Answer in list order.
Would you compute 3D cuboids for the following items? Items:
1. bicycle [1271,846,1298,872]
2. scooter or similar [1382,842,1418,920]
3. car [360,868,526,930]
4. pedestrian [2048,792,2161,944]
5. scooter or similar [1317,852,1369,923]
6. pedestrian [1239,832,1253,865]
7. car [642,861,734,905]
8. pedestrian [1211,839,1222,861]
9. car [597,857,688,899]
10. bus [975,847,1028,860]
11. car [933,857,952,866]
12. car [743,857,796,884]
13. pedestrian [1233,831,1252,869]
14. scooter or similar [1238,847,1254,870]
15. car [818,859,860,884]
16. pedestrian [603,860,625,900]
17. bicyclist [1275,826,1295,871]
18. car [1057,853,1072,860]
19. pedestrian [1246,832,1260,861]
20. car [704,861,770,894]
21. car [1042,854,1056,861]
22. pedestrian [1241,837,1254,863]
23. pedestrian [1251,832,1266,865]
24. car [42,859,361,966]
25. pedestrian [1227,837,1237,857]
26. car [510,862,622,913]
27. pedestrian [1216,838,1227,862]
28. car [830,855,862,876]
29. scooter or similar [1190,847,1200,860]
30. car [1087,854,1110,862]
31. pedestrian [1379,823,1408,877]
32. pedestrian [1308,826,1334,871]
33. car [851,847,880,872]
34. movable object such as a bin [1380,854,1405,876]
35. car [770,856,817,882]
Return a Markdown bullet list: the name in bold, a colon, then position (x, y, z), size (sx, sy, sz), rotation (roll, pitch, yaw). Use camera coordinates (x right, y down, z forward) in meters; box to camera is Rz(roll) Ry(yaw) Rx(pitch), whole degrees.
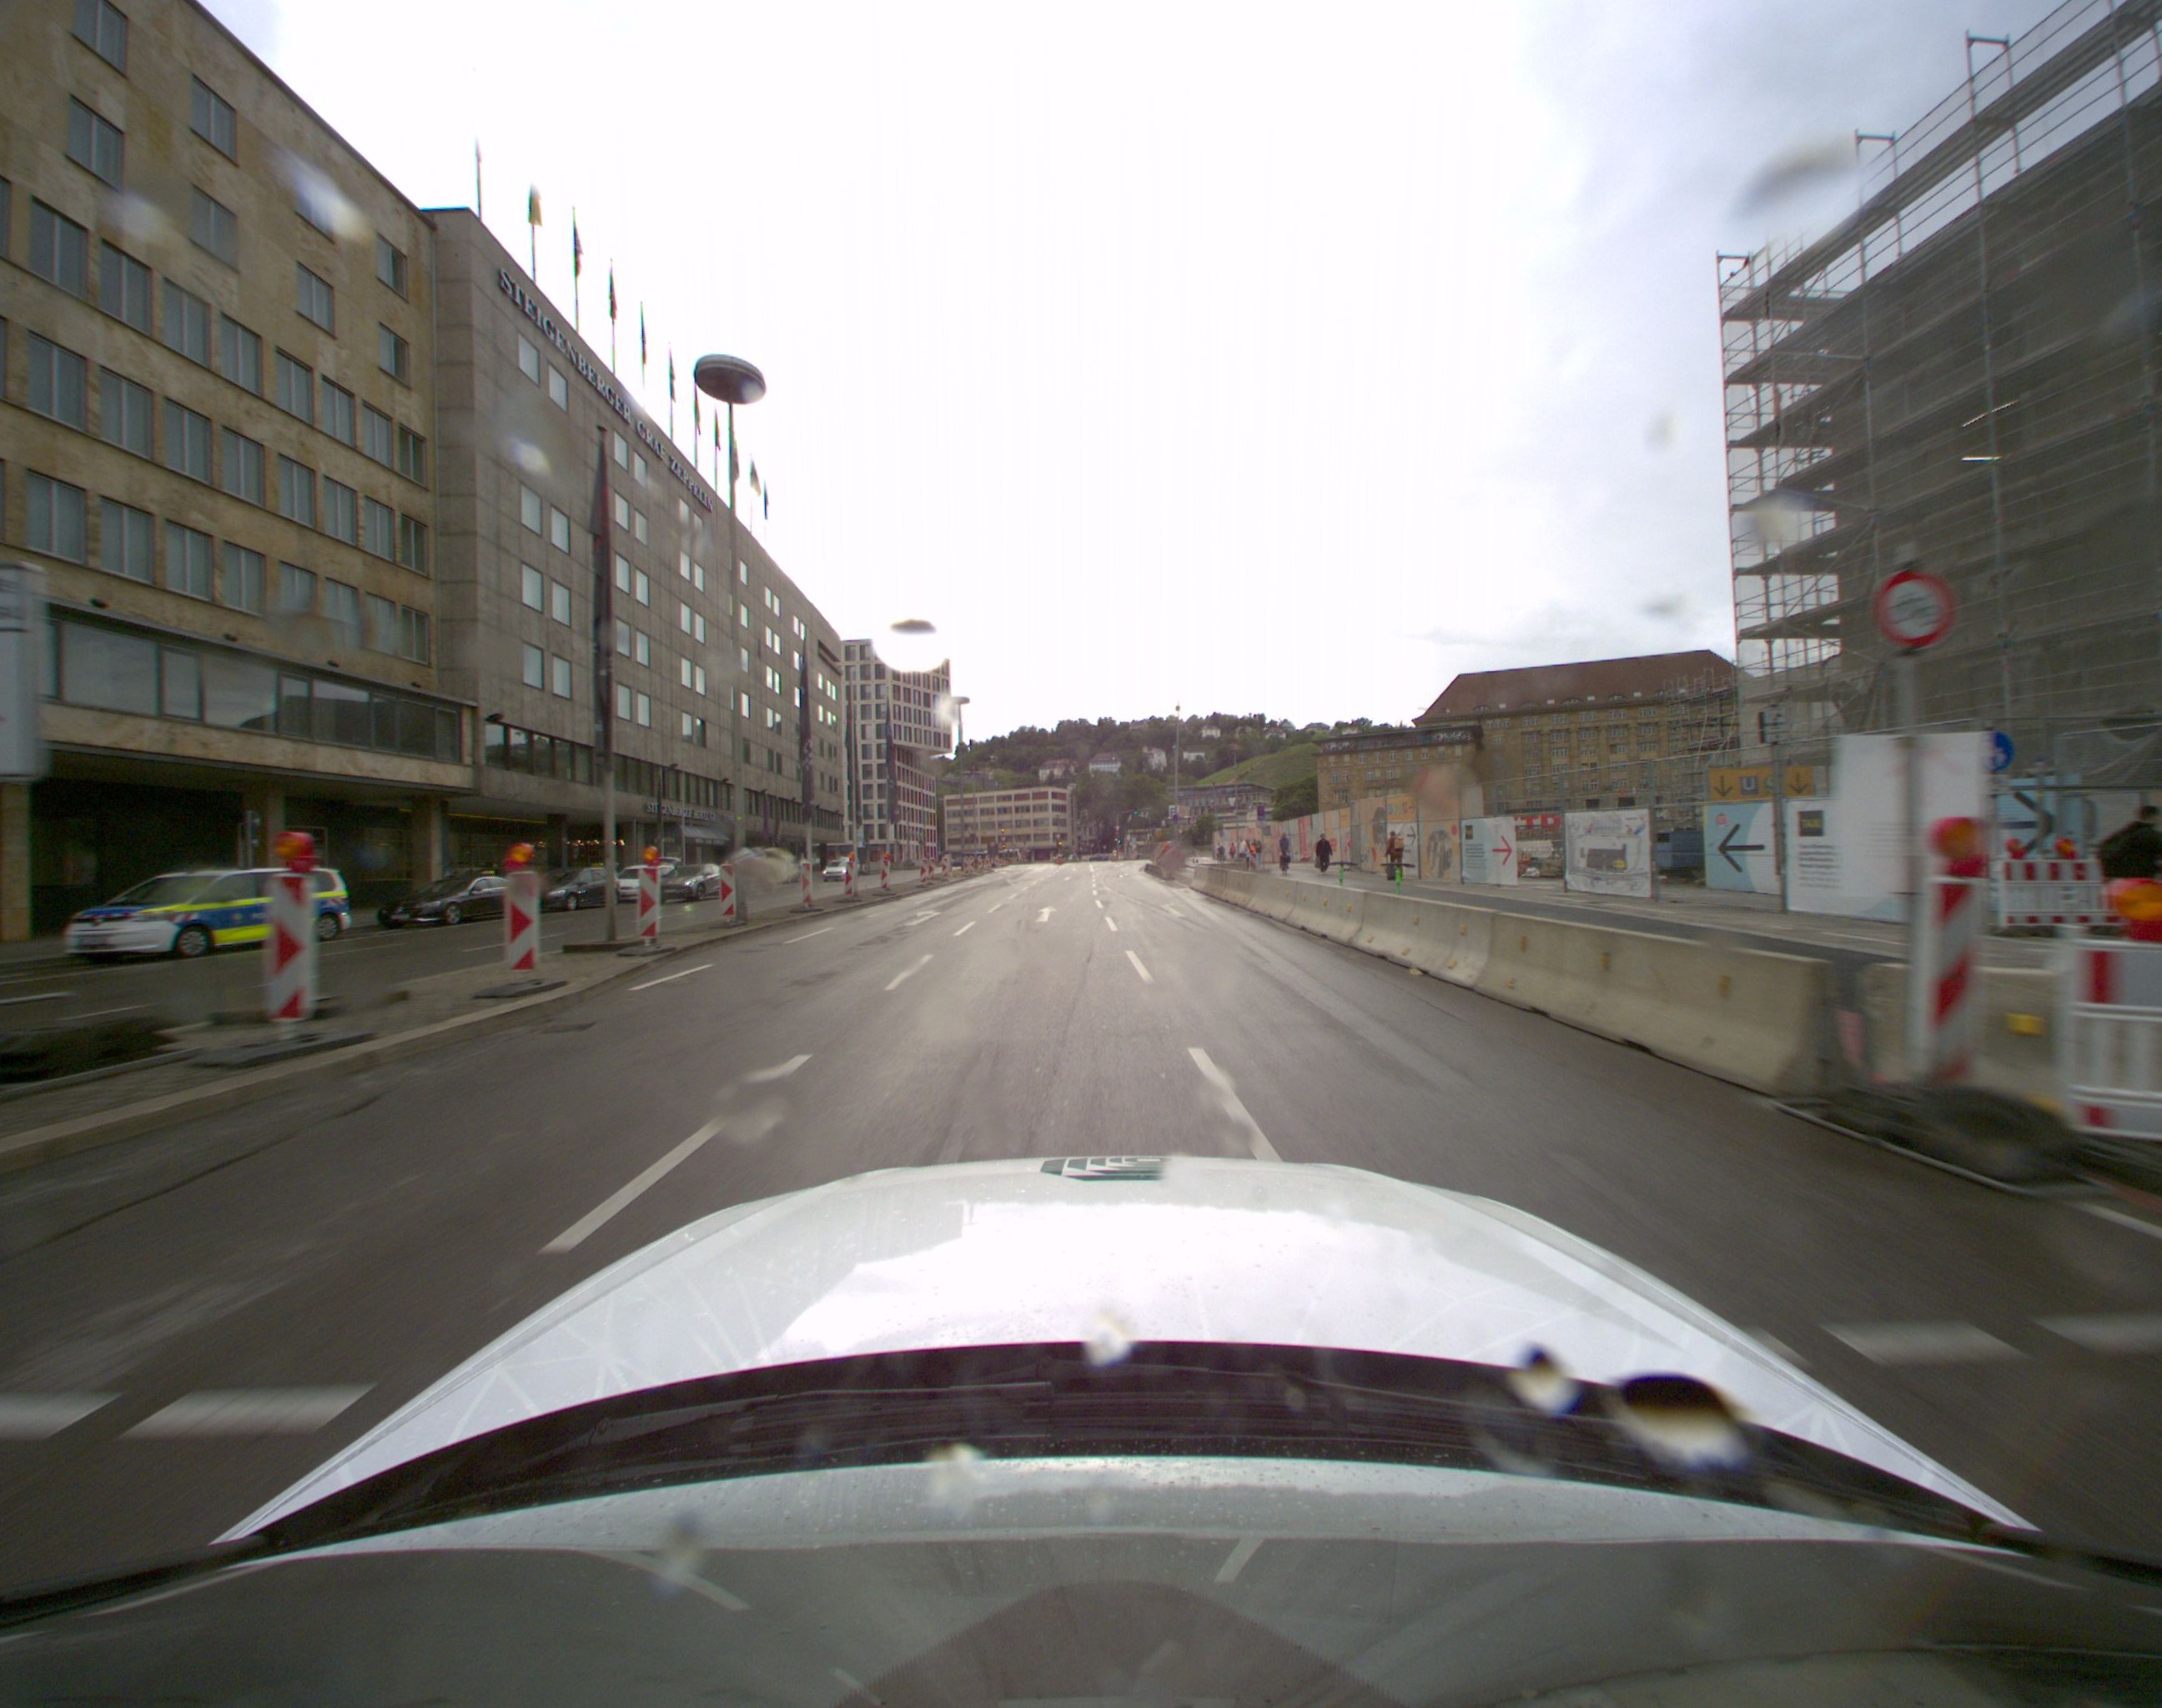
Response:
- **bicycle**: position (9.218, 0.219, 36.916), size (0.762, 1.111, 1.982), rotation (-2, 0, 2)
- **scooter or similar**: position (5.687, 0.456, 14.509), size (0.487, 1.333, 1.031), rotation (-2, 0, 25)
- **car**: position (-19.877, 1.334, 25.682), size (1.750, 1.621, 4.559), rotation (-2, 0, -3)
- **pedestrian**: position (13.133, 0.172, 10.304), size (0.990, 1.848, 0.680), rotation (-3, 0, 40)
- **scooter or similar**: position (5.174, 0.641, 16.133), size (0.524, 1.333, 1.022), rotation (-2, 0, -10)
- **pedestrian**: position (9.682, -0.333, 47.808), size (0.681, 1.889, 0.694), rotation (-2, 0, 3)
- **car**: position (-16.940, 1.201, 35.371), size (1.769, 1.669, 4.498), rotation (-3, 0, -1)
- **pedestrian**: position (11.034, -0.301, 66.150), size (0.681, 1.740, 0.907), rotation (-2, 0, 0)
- **car**: position (-20.129, 1.048, 37.629), size (1.750, 1.758, 4.706), rotation (-2, 0, -3)
- **bus**: position (-19.129, -0.036, 194.856), size (13.794, 2.750, 3.232), rotation (-2, 0, 37)
- **car**: position (-29.949, 1.676, 176.425), size (3.949, 1.815, 1.817), rotation (-2, 0, 41)
- **car**: position (-20.684, 1.066, 54.262), size (1.811, 1.698, 4.574), rotation (-2, 0, -2)
- **pedestrian**: position (8.738, -0.209, 44.143), size (0.799, 2.016, 0.973), rotation (-2, 0, 3)
- **scooter or similar**: position (8.739, 0.215, 43.121), size (0.662, 1.198, 1.045), rotation (-2, 0, 3)
- **car**: position (-17.681, 1.228, 59.676), size (1.820, 1.669, 4.495), rotation (-2, 0, -3)
- **pedestrian**: position (-21.363, 1.189, 37.259), size (0.617, 1.781, 0.660), rotation (-1, -1, 12)
- **bicyclist**: position (9.291, -0.251, 37.084), size (0.724, 2.013, 0.599), rotation (-2, 0, 2)
- **car**: position (-3.751, 0.503, 180.805), size (1.739, 1.492, 4.042), rotation (-2, 0, -27)
- **pedestrian**: position (11.375, -0.515, 53.943), size (0.681, 1.889, 0.693), rotation (-2, 0, -1)
- **car**: position (-20.548, 1.372, 48.852), size (1.896, 1.768, 4.645), rotation (-2, 0, 0)
- **car**: position (-7.448, 0.768, 188.801), size (1.738, 1.492, 4.044), rotation (-2, 0, -25)
- **pedestrian**: position (12.456, -0.296, 60.868), size (0.701, 1.866, 0.990), rotation (-2, 0, 2)
- **pedestrian**: position (10.390, -0.330, 47.743), size (0.681, 1.889, 0.694), rotation (-2, 0, 3)
- **car**: position (-19.774, 1.183, 18.779), size (1.896, 1.928, 5.070), rotation (-3, 1, -3)
- **pedestrian**: position (14.180, -0.636, 76.374), size (0.717, 1.866, 0.709), rotation (-2, 0, -1)
- **car**: position (-19.808, 1.225, 31.540), size (1.750, 1.681, 4.224), rotation (-2, 1, -3)
- **pedestrian**: position (10.444, -0.319, 60.653), size (0.640, 1.740, 0.837), rotation (-2, 0, 0)
- **car**: position (-21.704, 1.030, 75.447), size (1.770, 1.762, 4.367), rotation (-2, 0, -2)
- **scooter or similar**: position (10.245, -0.030, 73.082), size (0.467, 1.183, 1.411), rotation (-2, 0, -8)
- **car**: position (3.403, 0.738, 159.287), size (4.025, 1.492, 1.747), rotation (-2, 0, 37)
- **pedestrian**: position (11.284, -0.152, 29.440), size (0.764, 1.895, 0.654), rotation (-2, 0, 2)
- **pedestrian**: position (10.257, -0.243, 34.795), size (0.845, 1.895, 0.662), rotation (-2, 0, 2)
- **car**: position (-21.430, 0.523, 81.176), size (1.770, 2.327, 4.367), rotation (-2, 0, -2)
- **movable object such as a bin**: position (11.075, 0.386, 28.984), size (0.594, 0.734, 0.778), rotation (-2, 0, 3)
- **car**: position (-21.065, 1.052, 59.881), size (1.810, 1.728, 4.513), rotation (-2, 0, 0)
